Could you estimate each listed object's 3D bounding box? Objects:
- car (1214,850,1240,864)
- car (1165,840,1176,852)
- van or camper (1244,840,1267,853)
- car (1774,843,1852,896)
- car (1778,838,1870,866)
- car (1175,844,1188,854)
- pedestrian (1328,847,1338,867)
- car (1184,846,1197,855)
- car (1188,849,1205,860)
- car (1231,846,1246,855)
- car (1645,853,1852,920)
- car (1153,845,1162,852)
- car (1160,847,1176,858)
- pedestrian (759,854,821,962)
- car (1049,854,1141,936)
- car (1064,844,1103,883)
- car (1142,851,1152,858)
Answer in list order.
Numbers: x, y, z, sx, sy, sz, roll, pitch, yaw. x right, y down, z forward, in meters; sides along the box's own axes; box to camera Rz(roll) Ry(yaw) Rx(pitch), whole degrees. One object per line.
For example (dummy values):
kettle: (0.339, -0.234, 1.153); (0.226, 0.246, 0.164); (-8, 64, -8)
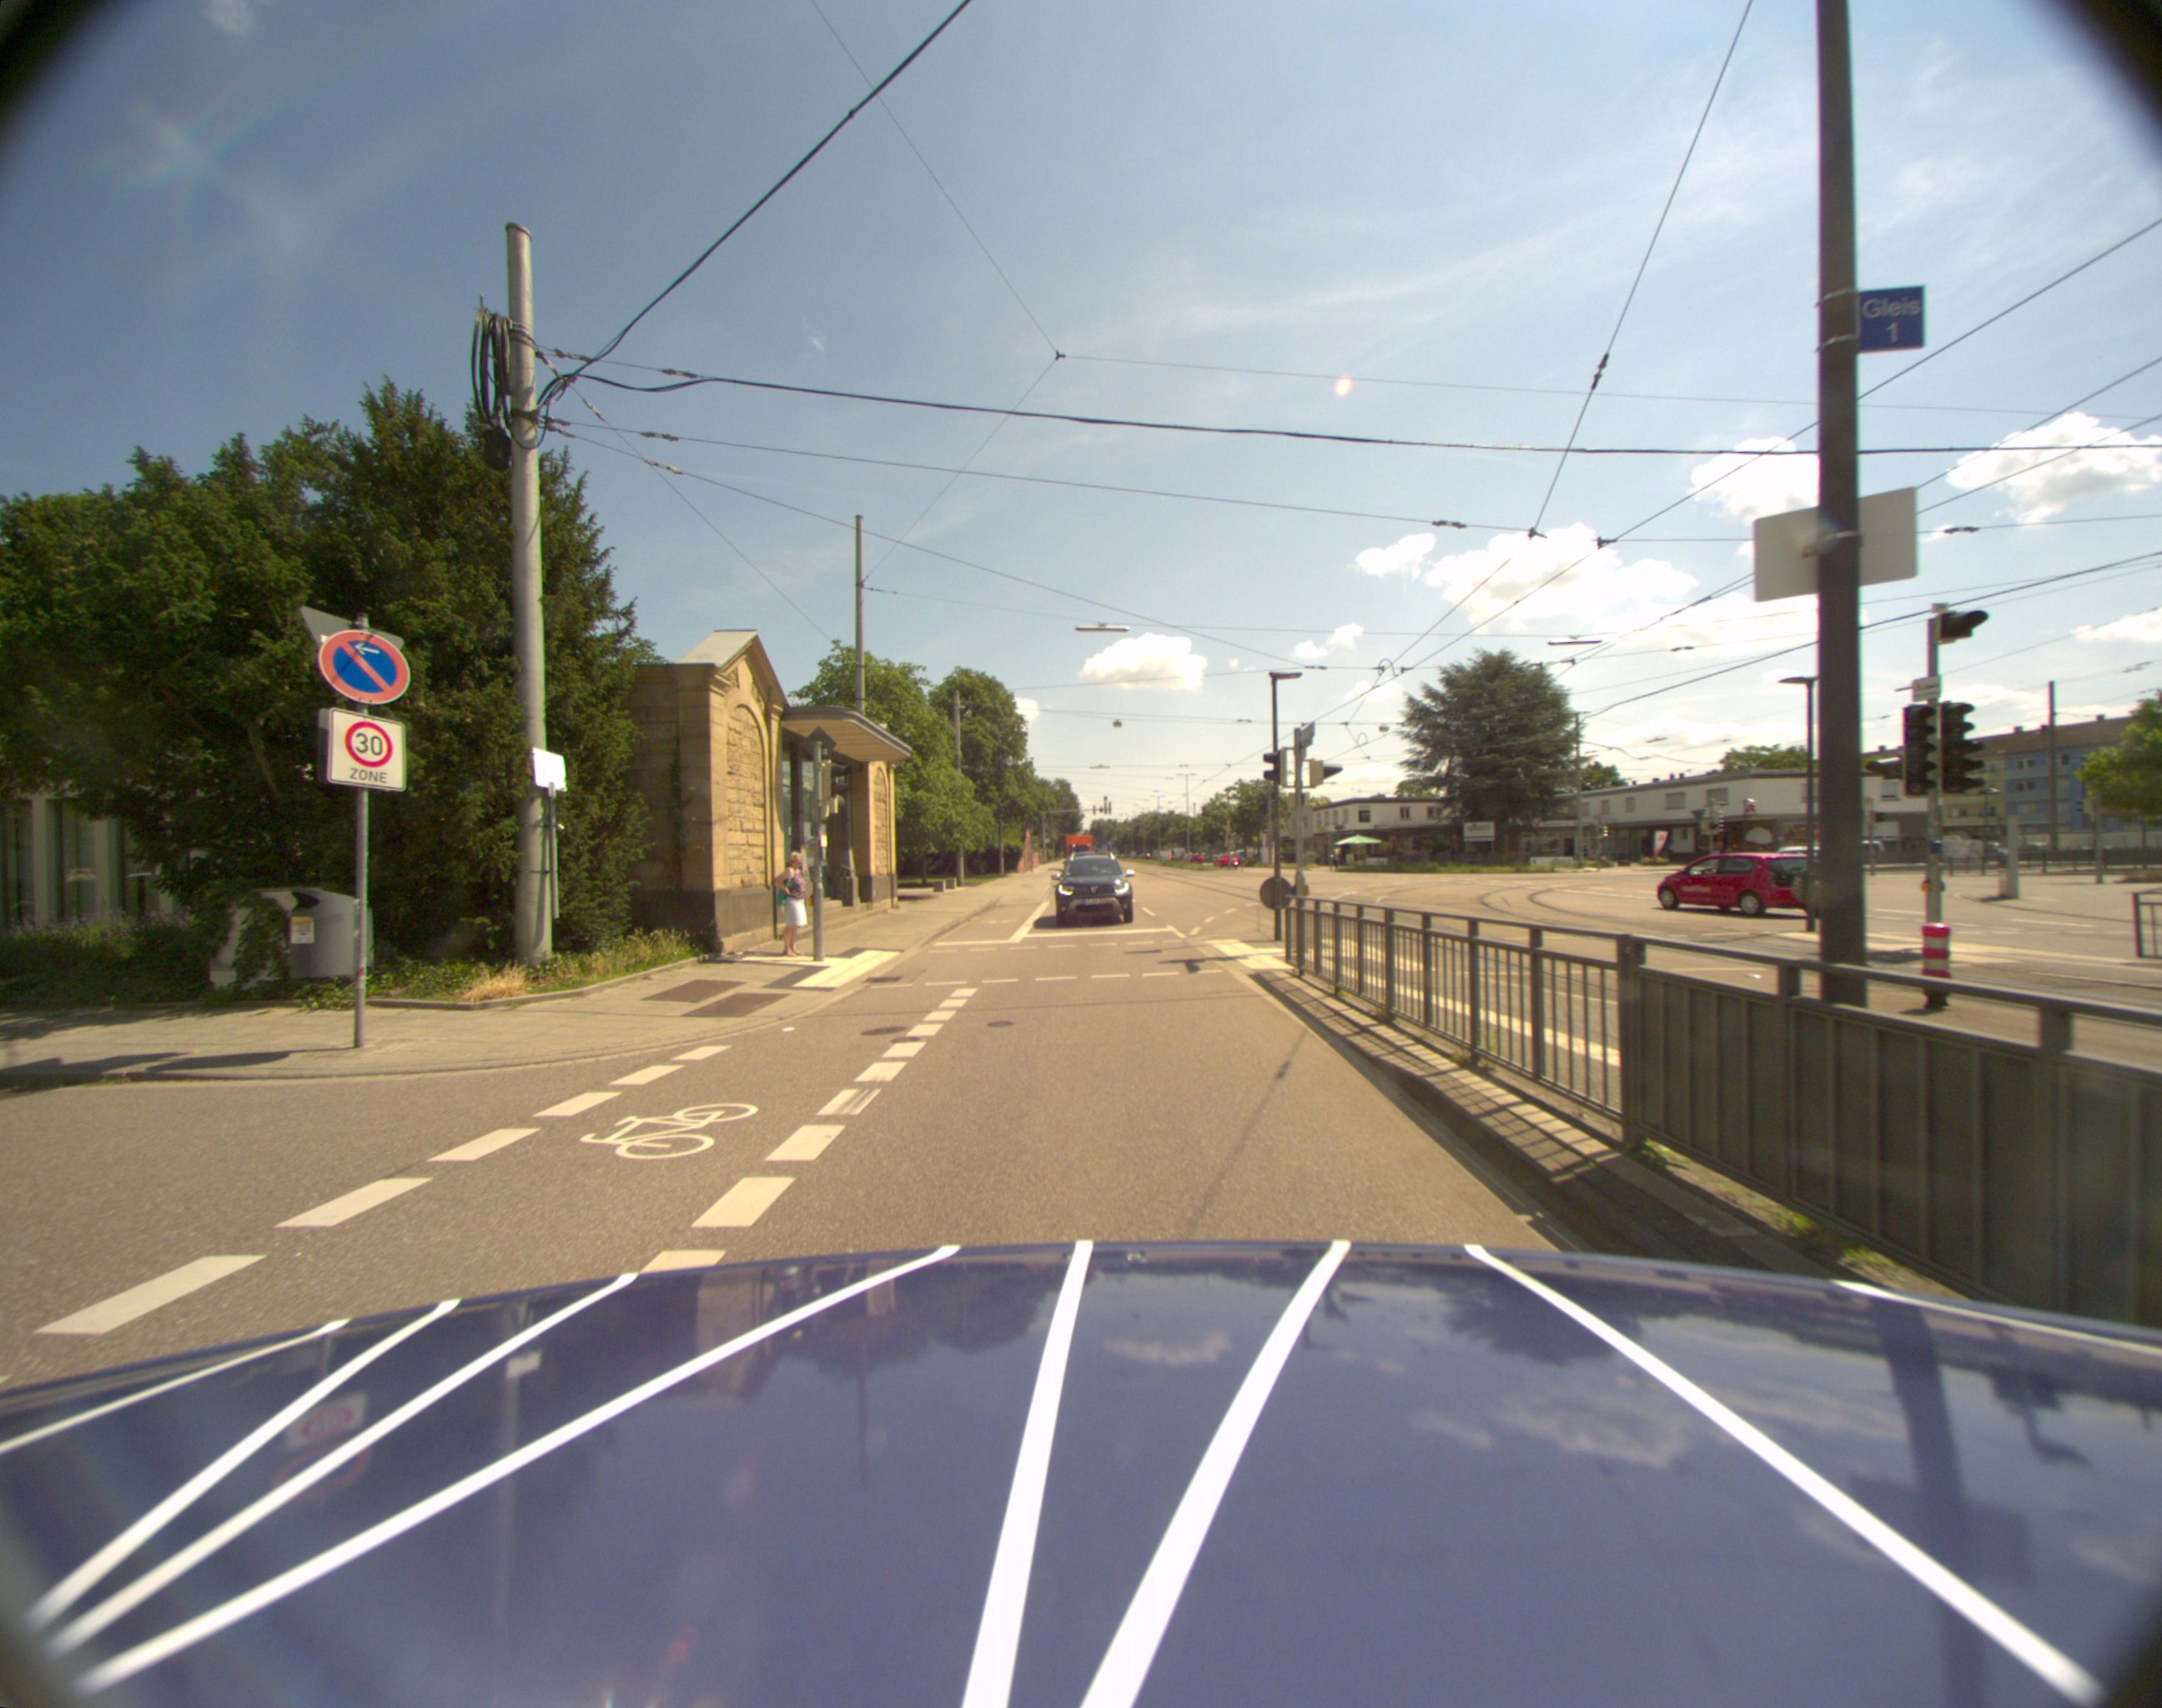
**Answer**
car: (15.853, 0.309, 82.761); (1.998, 1.441, 4.821); (-1, 0, 1)
car: (19.196, -1.712, 162.535); (1.745, 2.573, 3.999); (-1, 1, -1)
van or camper: (43.736, -1.943, 190.219); (5.158, 3.099, 2.247); (-1, 1, -1)
car: (24.406, 0.456, 25.361); (1.736, 1.606, 4.614); (0, 1, 44)
car: (47.808, -0.121, 48.921); (3.997, 1.718, 2.000); (-1, 1, -1)
car: (19.520, -1.018, 147.672); (1.967, 1.953, 3.999); (-1, 0, -1)
pedestrian: (22.815, 0.253, 68.784); (0.488, 1.765, 0.682); (-6, 3, -19)
car: (19.521, -0.588, 135.460); (1.745, 1.587, 3.999); (-1, 0, -1)
car: (15.906, 0.062, 104.569); (1.784, 1.346, 3.999); (-1, 1, 0)
car: (28.687, -0.595, 138.199); (1.745, 1.683, 3.999); (-1, 0, -1)
car: (15.989, 0.701, 18.485); (1.659, 1.436, 3.853); (-1, 0, 0)
car: (18.701, -1.227, 184.953); (1.745, 1.683, 3.999); (-1, 0, -1)
car: (15.197, -0.212, 132.977); (1.863, 1.865, 4.553); (-1, 0, -4)
pedestrian: (-4.608, 0.831, 12.054); (0.563, 1.656, 0.682); (0, 1, 23)
car: (0.302, 0.857, 18.062); (1.846, 1.565, 4.486); (-3, 1, 0)
car: (0.074, 0.485, 41.417); (1.999, 2.002, 3.999); (-1, 1, -2)
car: (14.977, 0.059, 171.779); (1.745, 1.587, 3.999); (-1, 0, -1)
